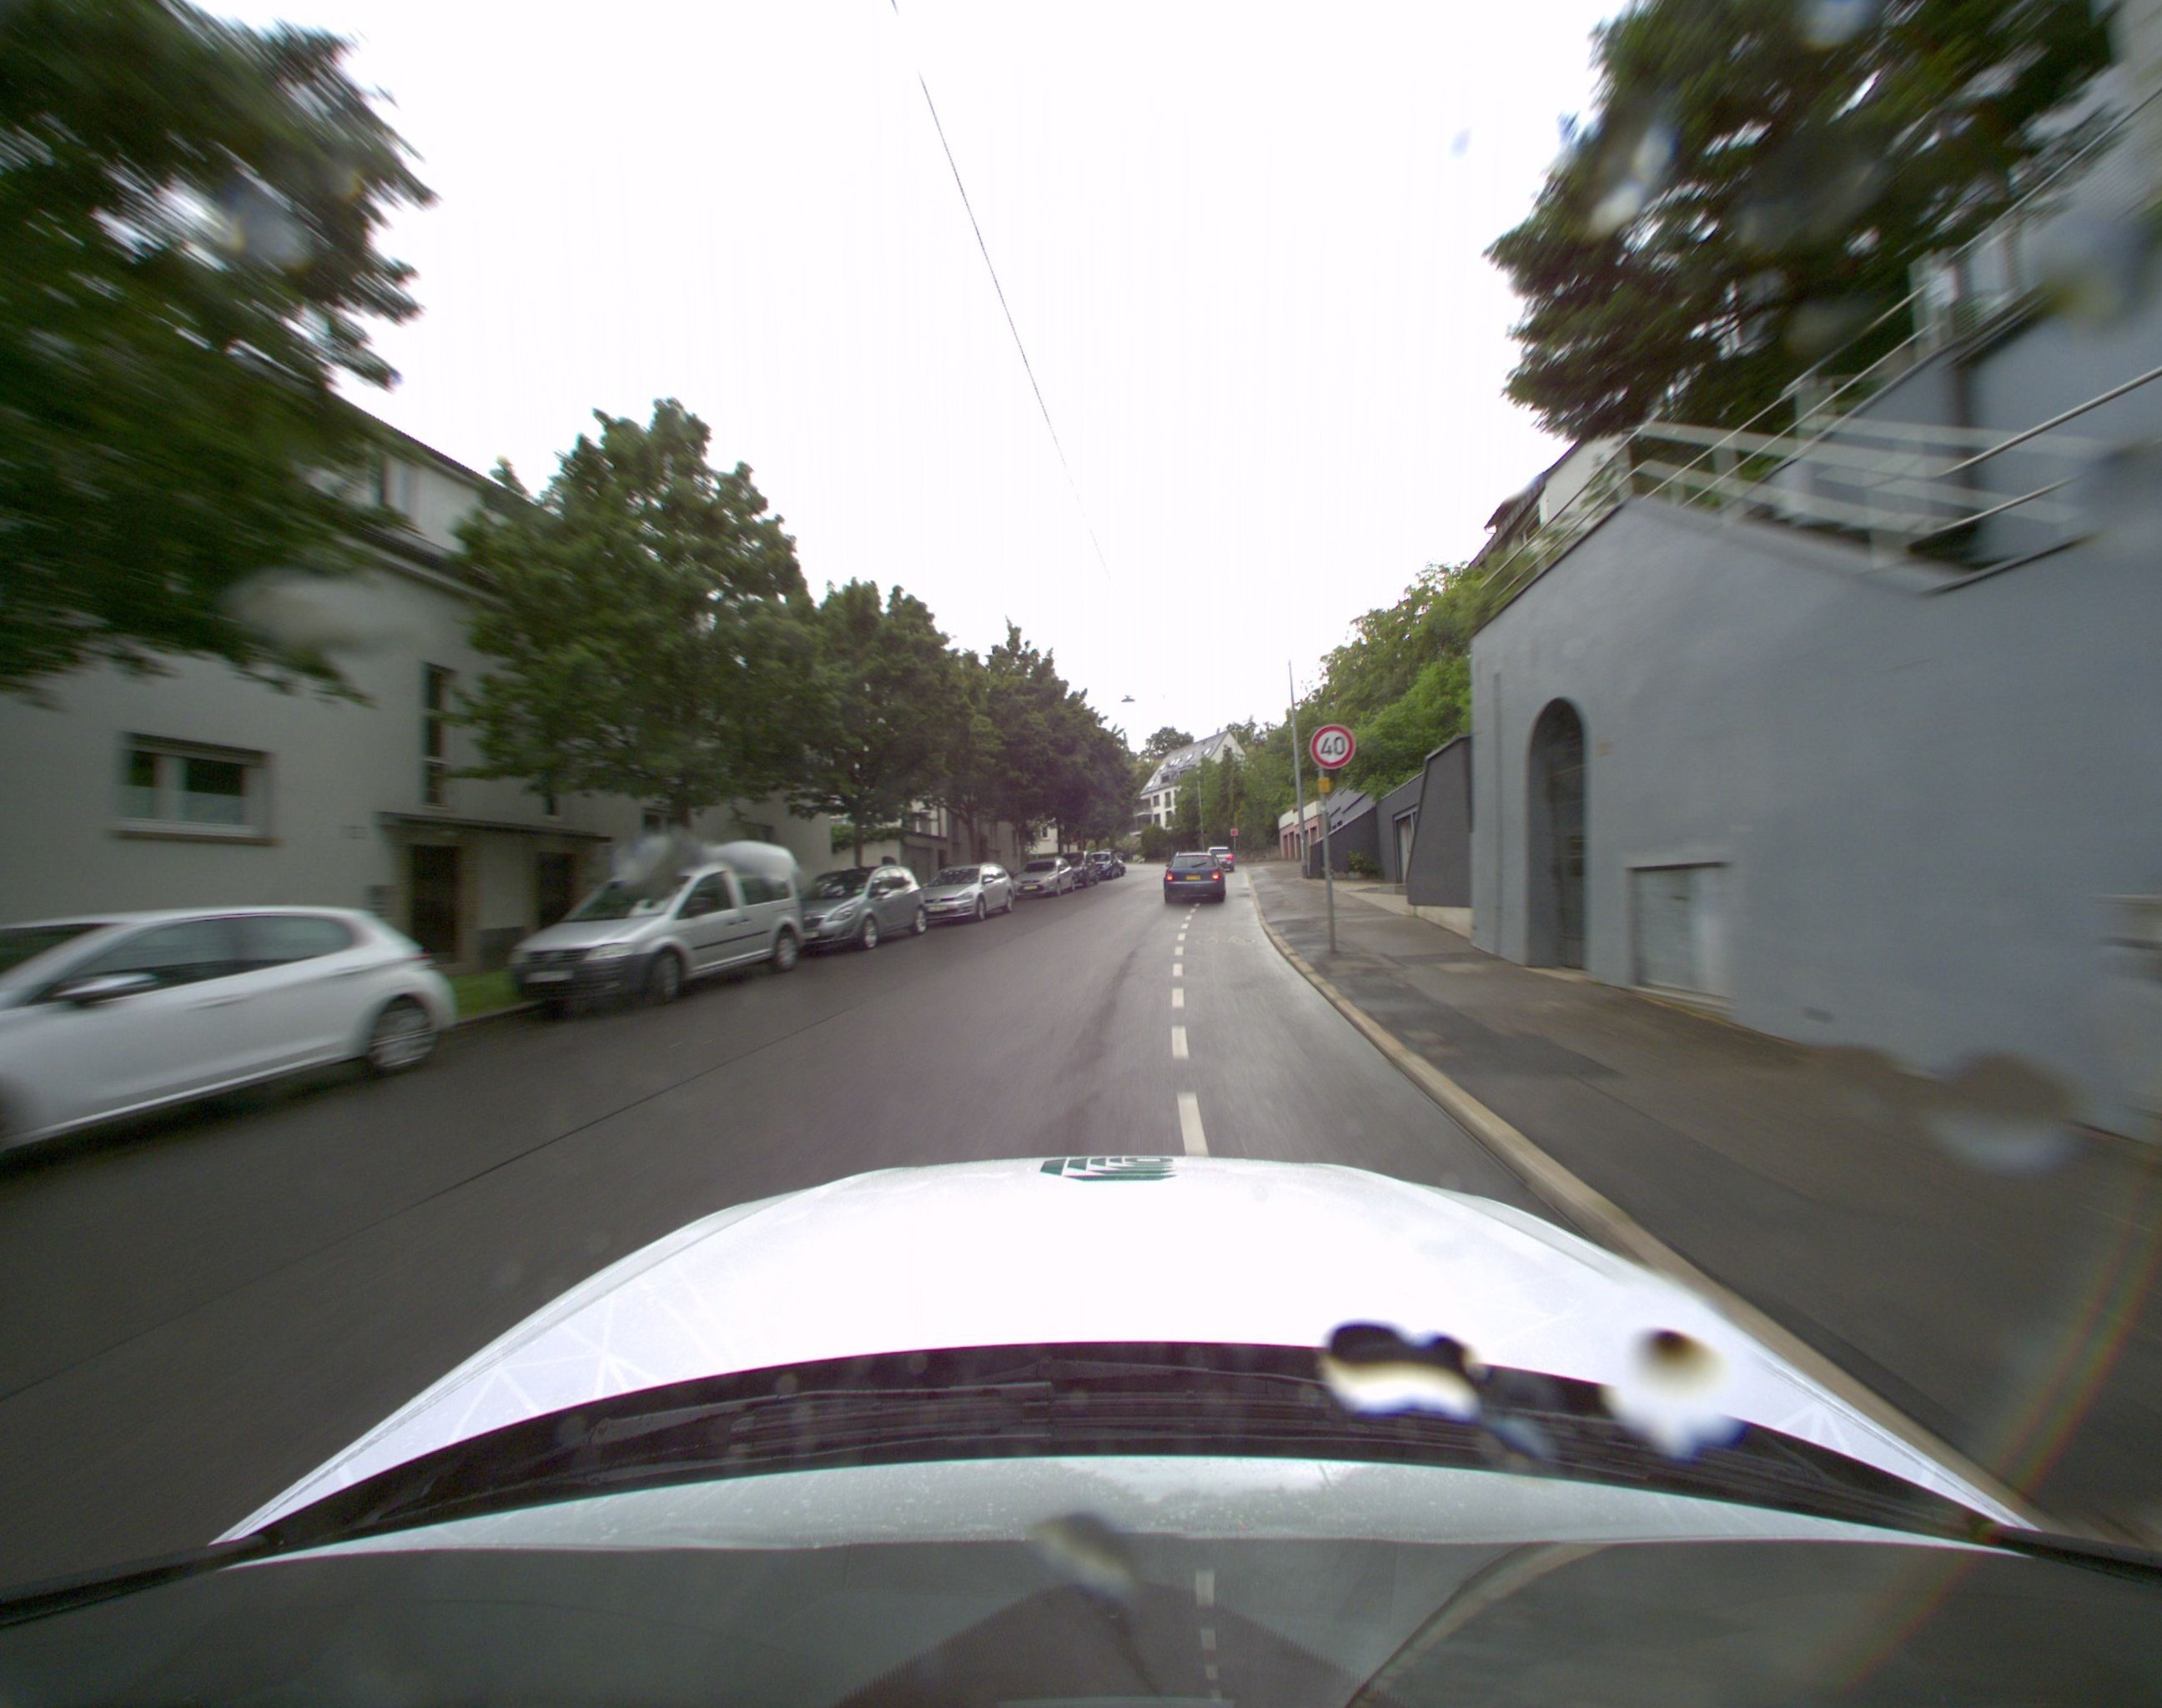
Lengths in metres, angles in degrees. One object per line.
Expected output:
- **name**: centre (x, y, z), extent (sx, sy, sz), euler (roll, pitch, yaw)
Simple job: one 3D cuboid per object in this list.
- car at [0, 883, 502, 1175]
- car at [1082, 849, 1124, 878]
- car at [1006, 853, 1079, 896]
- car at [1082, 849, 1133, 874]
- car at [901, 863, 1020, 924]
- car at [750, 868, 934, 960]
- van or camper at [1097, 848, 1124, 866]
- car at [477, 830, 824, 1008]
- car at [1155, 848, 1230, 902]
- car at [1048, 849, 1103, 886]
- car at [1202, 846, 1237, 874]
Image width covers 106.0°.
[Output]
- **car**: centre (-6.612, 1.061, 5.597), extent (1.776, 1.514, 4.352), euler (-5, -2, 6)
- **car**: centre (1.281, 0.508, 46.074), extent (1.701, 1.462, 3.894), euler (-1, 1, 12)
- **car**: centre (-1.426, 0.808, 32.495), extent (1.793, 1.552, 4.814), euler (-1, -1, 11)
- **car**: centre (1.593, 0.474, 50.839), extent (1.998, 1.391, 4.175), euler (-2, -1, -16)
- **car**: centre (-3.102, 0.991, 22.039), extent (1.793, 1.453, 4.609), euler (-1, -1, 10)
- **car**: centre (-4.610, 1.093, 16.441), extent (1.794, 1.485, 4.247), euler (-5, -2, 9)
- **van or camper**: centre (3.623, 0.340, 99.281), extent (1.999, 2.014, 3.974), euler (0, -2, -19)
- **car**: centre (-5.663, 0.778, 11.543), extent (1.902, 2.001, 4.561), euler (-1, -1, 10)
- **car**: centre (3.477, 0.574, 24.725), extent (1.841, 1.414, 4.377), euler (-2, 0, 13)
- **car**: centre (-0.213, 0.594, 38.767), extent (1.793, 1.627, 4.152), euler (-2, 0, 11)
- **car**: centre (8.200, 0.314, 48.216), extent (1.938, 1.561, 4.275), euler (1, 1, 9)
